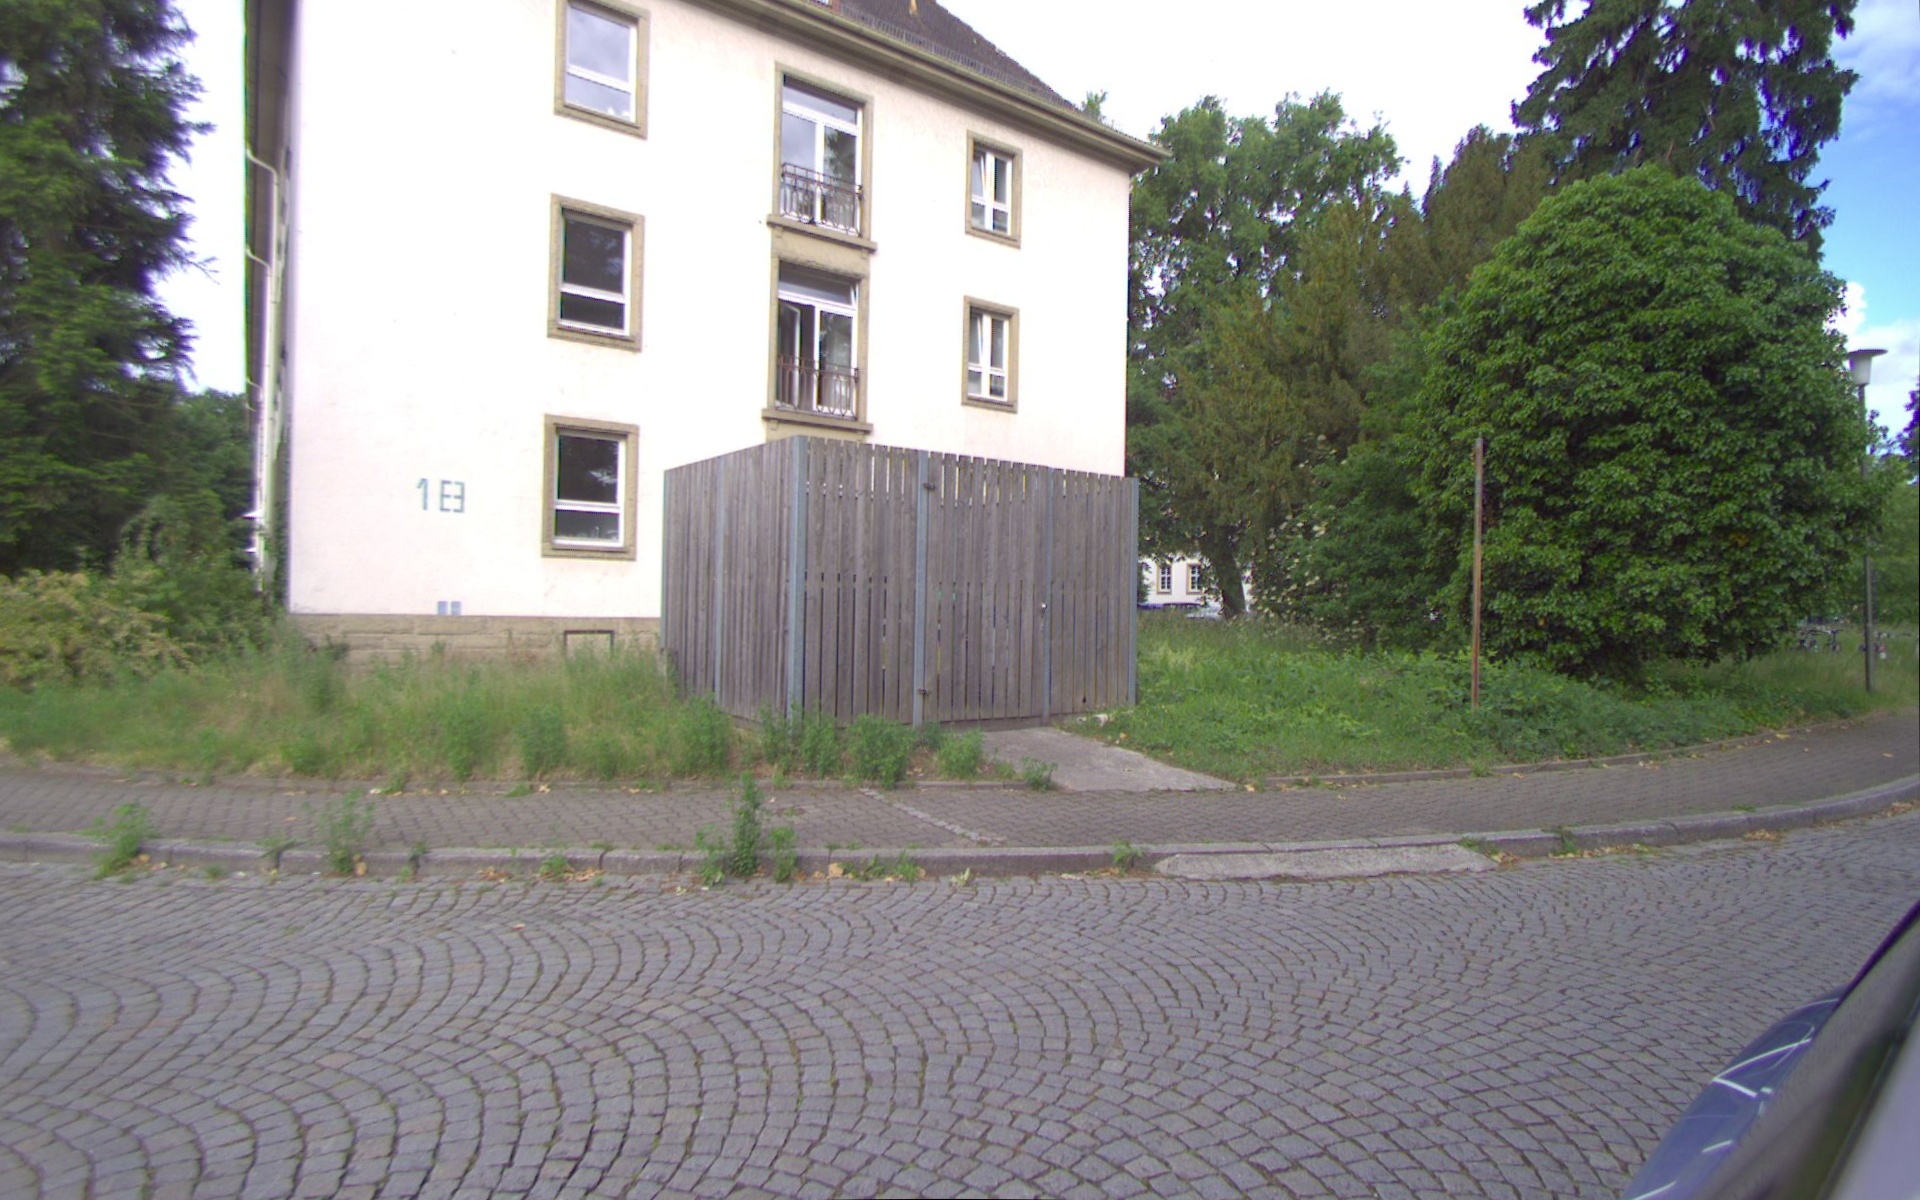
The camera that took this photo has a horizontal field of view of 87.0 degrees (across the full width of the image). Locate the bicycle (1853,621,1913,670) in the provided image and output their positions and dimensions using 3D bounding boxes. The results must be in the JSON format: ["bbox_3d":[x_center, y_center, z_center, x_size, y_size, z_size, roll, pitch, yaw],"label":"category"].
[{"bbox_3d":[21.696,1.045,23.820,0.612,1.078,1.807,0,0,28],"label":"bicycle"}]

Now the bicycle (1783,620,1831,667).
[{"bbox_3d":[20.562,1.031,24.595,0.546,1.078,1.736,0,0,28],"label":"bicycle"}]

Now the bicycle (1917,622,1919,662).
[{"bbox_3d":[24.873,1.111,25.830,0.475,1.020,1.645,0,1,37],"label":"bicycle"}]

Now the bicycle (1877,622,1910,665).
[{"bbox_3d":[24.358,1.108,26.412,0.475,1.020,1.645,0,1,37],"label":"bicycle"}]

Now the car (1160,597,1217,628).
[{"bbox_3d":[13.033,0.714,57.681,3.188,1.682,1.439,1,0,-36],"label":"car"}]

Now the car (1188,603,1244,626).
[{"bbox_3d":[14.080,0.781,55.633,3.188,1.233,1.297,1,0,-36],"label":"car"}]

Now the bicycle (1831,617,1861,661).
[{"bbox_3d":[23.489,1.010,26.836,0.475,1.126,1.741,0,-1,37],"label":"bicycle"}]

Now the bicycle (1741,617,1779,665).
[{"bbox_3d":[20.430,1.031,25.845,1.725,1.186,0.550,1,-1,-44],"label":"bicycle"}]

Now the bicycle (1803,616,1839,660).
[{"bbox_3d":[23.213,1.010,27.297,0.474,1.126,1.745,0,0,32],"label":"bicycle"}]

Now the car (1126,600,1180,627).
[{"bbox_3d":[11.565,0.815,60.632,3.188,1.585,1.384,1,0,-36],"label":"car"}]
